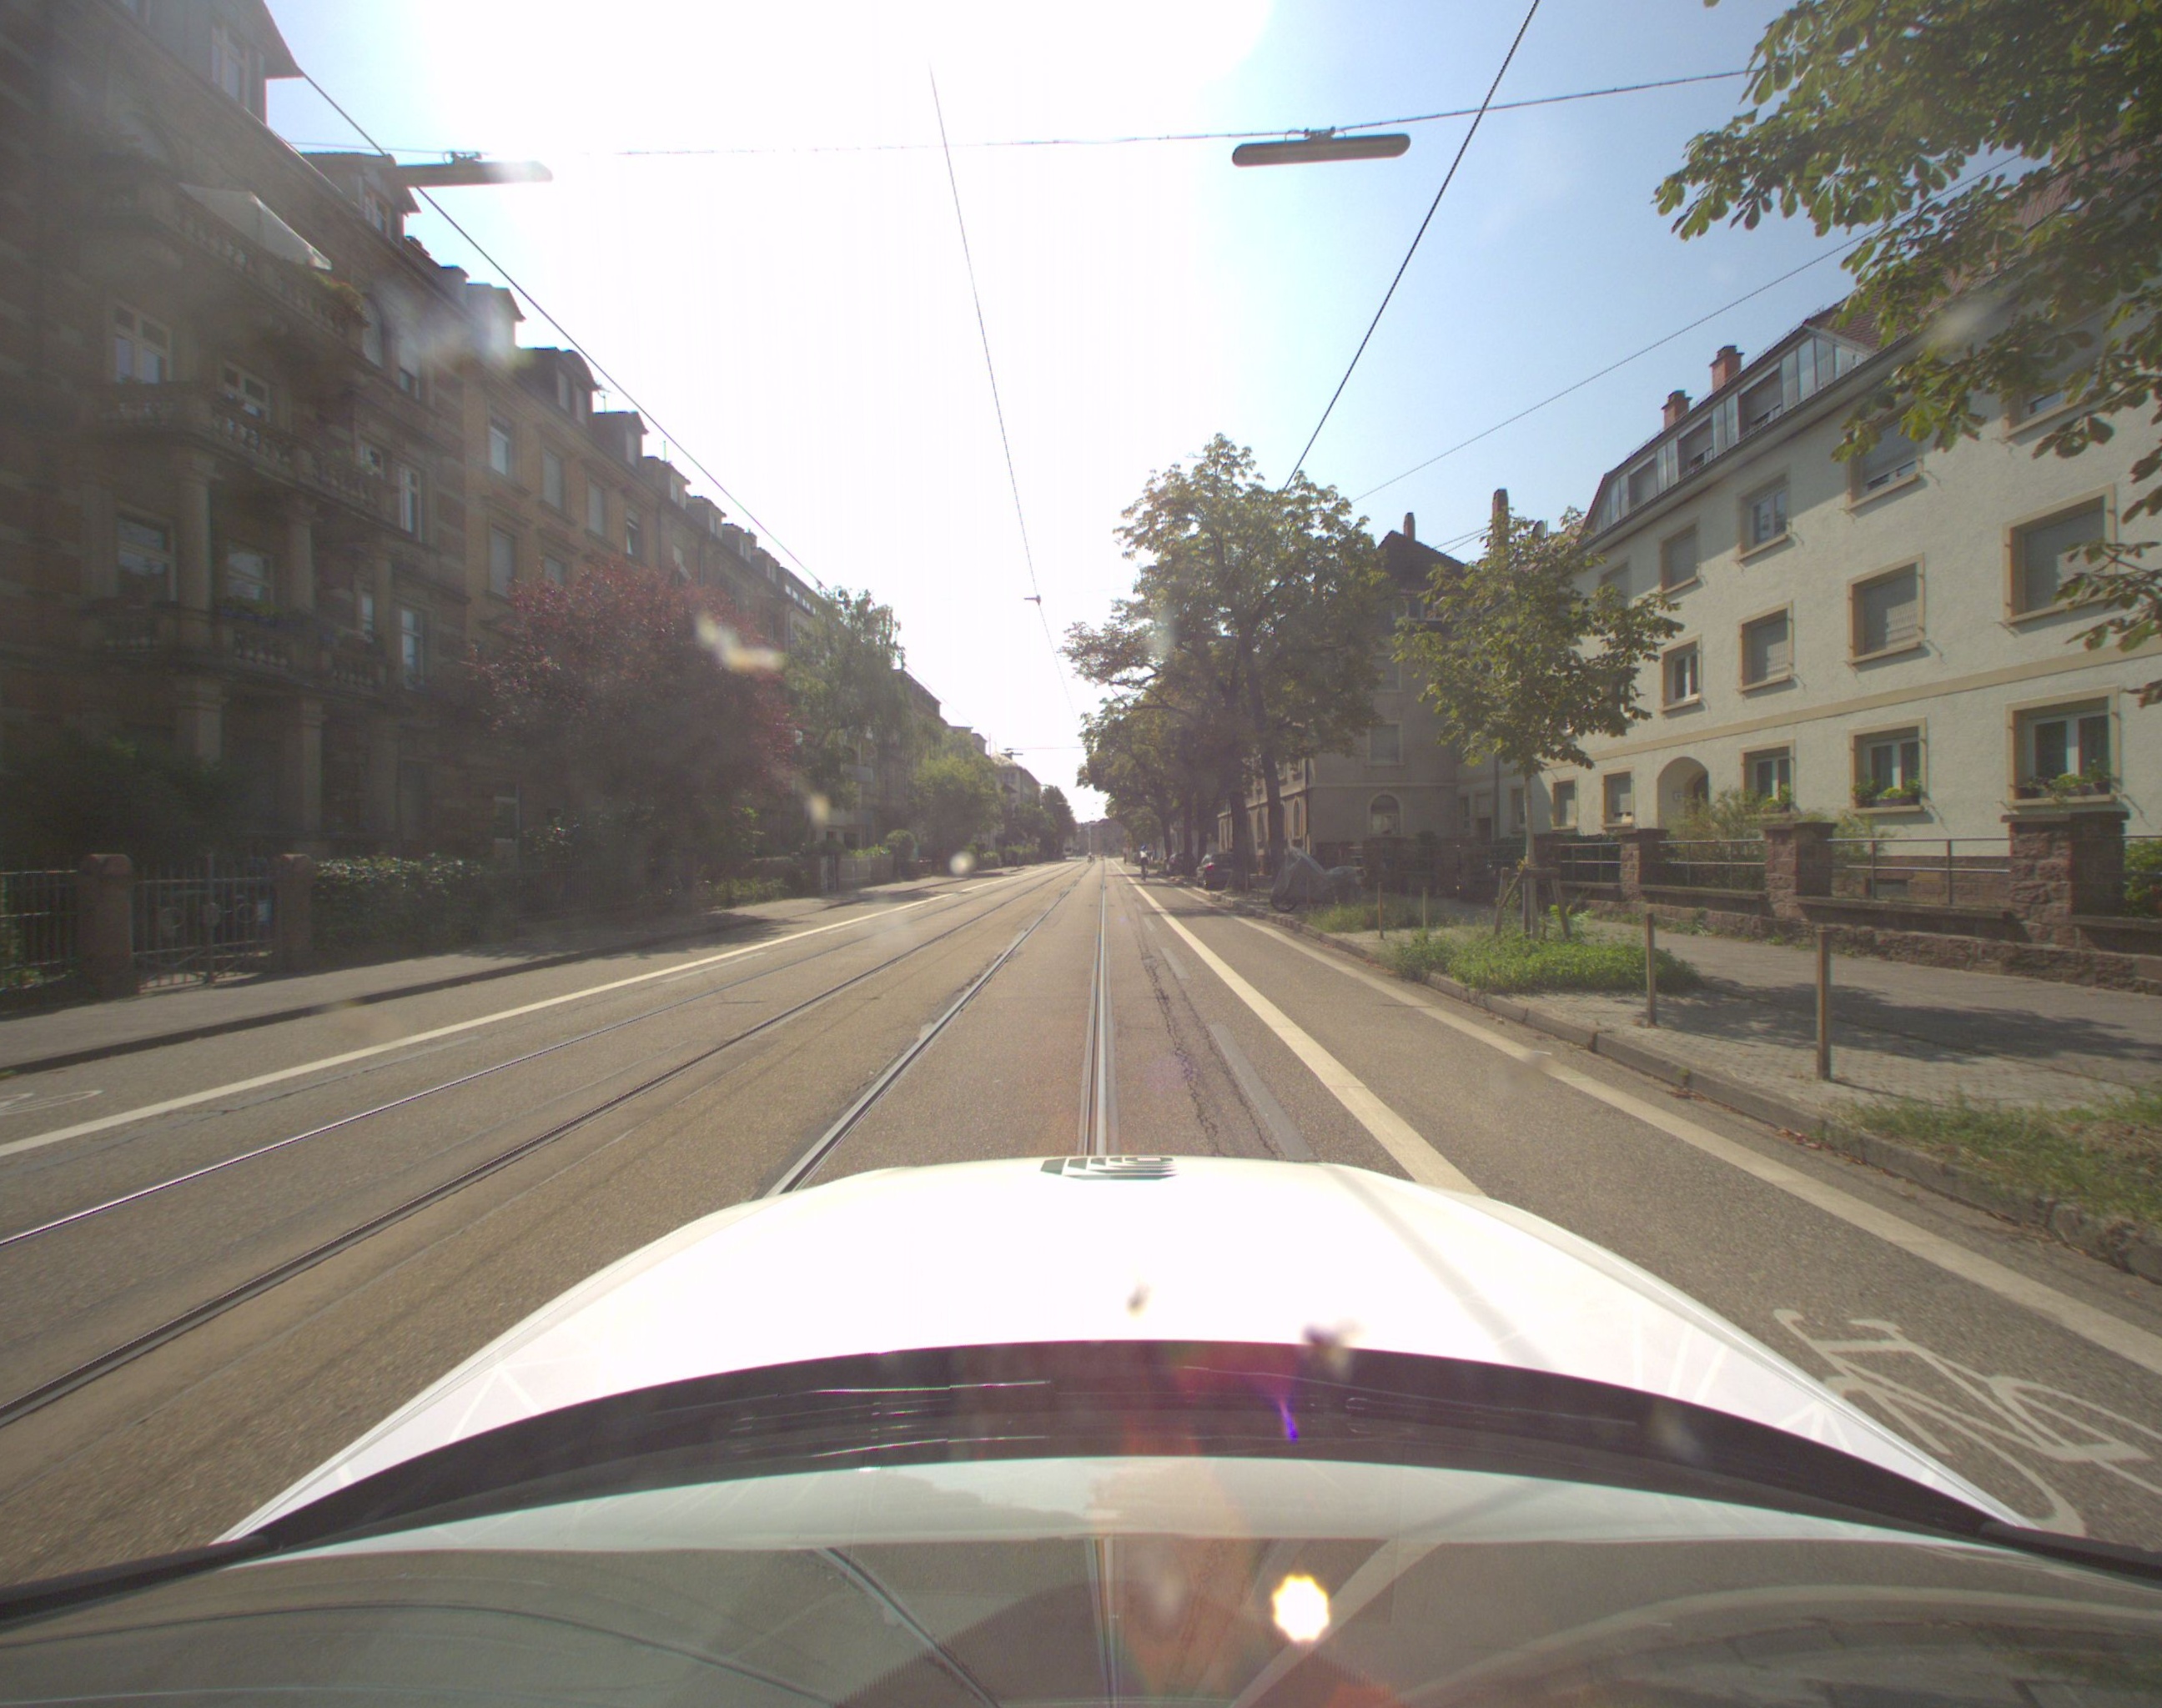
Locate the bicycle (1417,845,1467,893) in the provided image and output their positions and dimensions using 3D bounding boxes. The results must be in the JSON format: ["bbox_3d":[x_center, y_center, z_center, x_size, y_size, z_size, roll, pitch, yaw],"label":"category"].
[{"bbox_3d":[10.718,0.443,24.266,0.591,1.358,2.371,-1,0,4],"label":"bicycle"}]

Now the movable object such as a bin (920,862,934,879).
[{"bbox_3d":[-9.924,1.067,52.433,0.784,1.075,0.754,0,-1,-1],"label":"movable object such as a bin"}]

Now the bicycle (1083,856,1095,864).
[{"bbox_3d":[1.119,0.801,112.063,0.752,0.991,2.310,-1,-1,21],"label":"bicycle"}]

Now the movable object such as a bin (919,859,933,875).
[{"bbox_3d":[-10.678,0.889,56.204,0.783,1.075,0.804,0,-1,4],"label":"movable object such as a bin"}]

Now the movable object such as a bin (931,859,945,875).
[{"bbox_3d":[-9.857,0.896,56.230,0.783,1.075,0.804,0,-1,4],"label":"movable object such as a bin"}]

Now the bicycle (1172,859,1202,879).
[{"bbox_3d":[6.230,0.866,47.950,1.713,1.149,0.377,-1,0,7],"label":"bicycle"}]

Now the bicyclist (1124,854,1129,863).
[{"bbox_3d":[6.134,0.603,109.242,0.576,1.279,0.472,-1,-1,3],"label":"bicyclist"}]

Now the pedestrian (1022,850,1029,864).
[{"bbox_3d":[-7.142,0.364,105.457,0.776,1.756,1.041,-1,-1,2],"label":"pedestrian"}]

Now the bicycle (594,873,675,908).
[{"bbox_3d":[-12.237,0.989,22.372,1.818,0.911,0.712,1,-1,-19],"label":"bicycle"}]

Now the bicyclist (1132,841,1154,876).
[{"bbox_3d":[3.260,0.248,43.096,1.121,1.837,0.956,-1,-1,2],"label":"bicyclist"}]

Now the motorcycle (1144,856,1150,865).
[{"bbox_3d":[8.406,0.833,103.900,0.547,1.068,2.331,-1,-1,2],"label":"motorcycle"}]

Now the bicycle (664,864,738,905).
[{"bbox_3d":[-11.134,0.882,23.902,1.805,1.182,0.717,0,-1,3],"label":"bicycle"}]

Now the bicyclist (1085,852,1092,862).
[{"bbox_3d":[1.055,0.400,111.920,0.752,1.391,0.783,-1,-1,22],"label":"bicyclist"}]

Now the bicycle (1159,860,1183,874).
[{"bbox_3d":[6.846,0.967,61.960,1.706,1.032,0.567,-1,-1,2],"label":"bicycle"}]

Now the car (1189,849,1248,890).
[{"bbox_3d":[5.725,0.608,34.360,1.834,1.532,4.116,-1,1,1],"label":"car"}]

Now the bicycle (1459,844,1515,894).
[{"bbox_3d":[11.707,0.424,23.563,0.591,1.358,2.371,-1,0,4],"label":"bicycle"}]

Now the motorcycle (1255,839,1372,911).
[{"bbox_3d":[5.268,0.504,18.605,2.316,1.540,0.975,-4,-3,43],"label":"motorcycle"}]

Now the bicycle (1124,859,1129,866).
[{"bbox_3d":[6.146,1.090,109.288,0.585,0.939,2.174,-1,-1,4],"label":"bicycle"}]

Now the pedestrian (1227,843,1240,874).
[{"bbox_3d":[9.379,0.251,50.145,0.703,1.892,0.714,-1,-1,3],"label":"pedestrian"}]

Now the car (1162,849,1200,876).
[{"bbox_3d":[6.300,0.520,51.743,1.834,1.532,4.781,-2,0,1],"label":"car"}]

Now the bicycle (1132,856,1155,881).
[{"bbox_3d":[3.278,0.760,43.197,1.143,1.269,2.714,-1,0,3],"label":"bicycle"}]

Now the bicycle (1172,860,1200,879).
[{"bbox_3d":[6.119,0.897,47.565,1.597,1.104,0.399,-1,0,7],"label":"bicycle"}]
